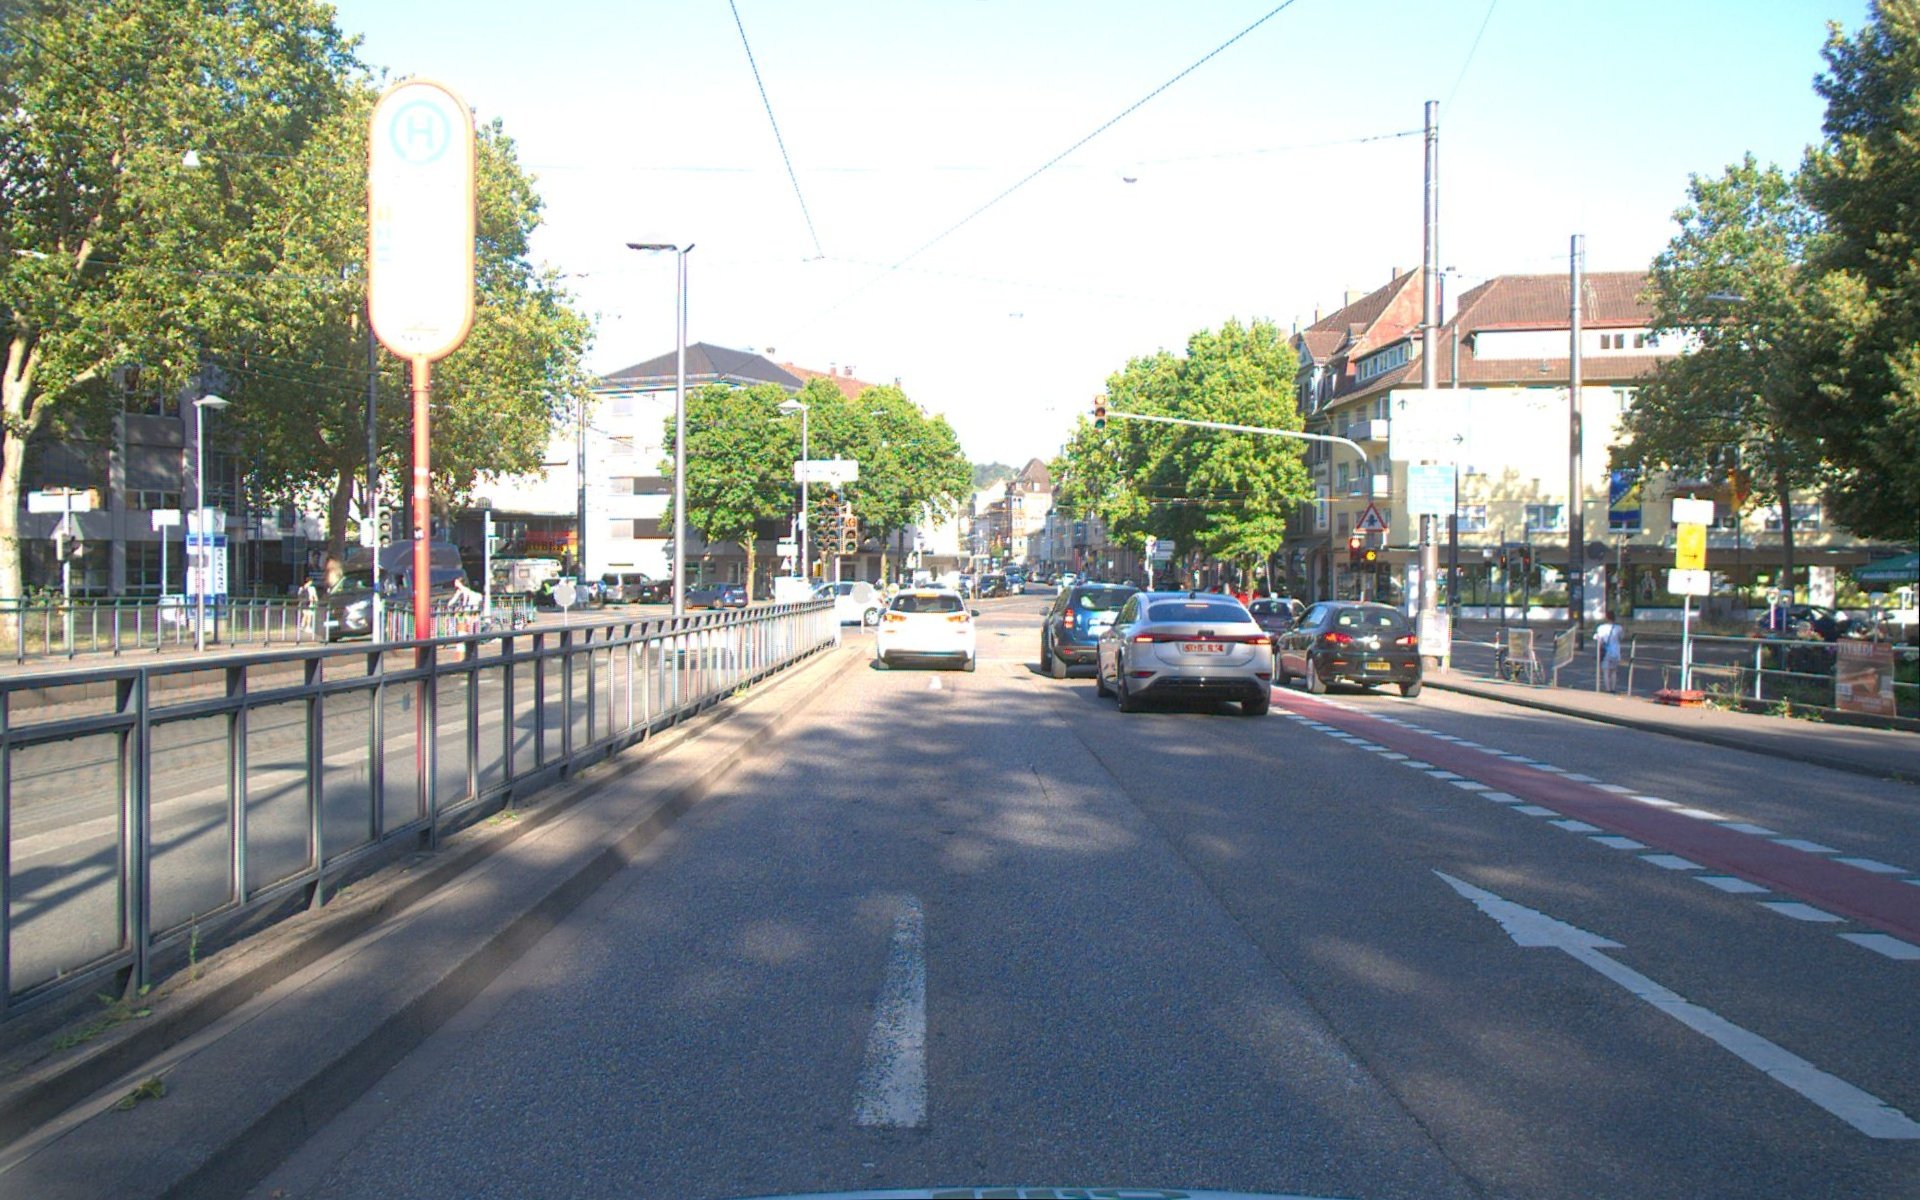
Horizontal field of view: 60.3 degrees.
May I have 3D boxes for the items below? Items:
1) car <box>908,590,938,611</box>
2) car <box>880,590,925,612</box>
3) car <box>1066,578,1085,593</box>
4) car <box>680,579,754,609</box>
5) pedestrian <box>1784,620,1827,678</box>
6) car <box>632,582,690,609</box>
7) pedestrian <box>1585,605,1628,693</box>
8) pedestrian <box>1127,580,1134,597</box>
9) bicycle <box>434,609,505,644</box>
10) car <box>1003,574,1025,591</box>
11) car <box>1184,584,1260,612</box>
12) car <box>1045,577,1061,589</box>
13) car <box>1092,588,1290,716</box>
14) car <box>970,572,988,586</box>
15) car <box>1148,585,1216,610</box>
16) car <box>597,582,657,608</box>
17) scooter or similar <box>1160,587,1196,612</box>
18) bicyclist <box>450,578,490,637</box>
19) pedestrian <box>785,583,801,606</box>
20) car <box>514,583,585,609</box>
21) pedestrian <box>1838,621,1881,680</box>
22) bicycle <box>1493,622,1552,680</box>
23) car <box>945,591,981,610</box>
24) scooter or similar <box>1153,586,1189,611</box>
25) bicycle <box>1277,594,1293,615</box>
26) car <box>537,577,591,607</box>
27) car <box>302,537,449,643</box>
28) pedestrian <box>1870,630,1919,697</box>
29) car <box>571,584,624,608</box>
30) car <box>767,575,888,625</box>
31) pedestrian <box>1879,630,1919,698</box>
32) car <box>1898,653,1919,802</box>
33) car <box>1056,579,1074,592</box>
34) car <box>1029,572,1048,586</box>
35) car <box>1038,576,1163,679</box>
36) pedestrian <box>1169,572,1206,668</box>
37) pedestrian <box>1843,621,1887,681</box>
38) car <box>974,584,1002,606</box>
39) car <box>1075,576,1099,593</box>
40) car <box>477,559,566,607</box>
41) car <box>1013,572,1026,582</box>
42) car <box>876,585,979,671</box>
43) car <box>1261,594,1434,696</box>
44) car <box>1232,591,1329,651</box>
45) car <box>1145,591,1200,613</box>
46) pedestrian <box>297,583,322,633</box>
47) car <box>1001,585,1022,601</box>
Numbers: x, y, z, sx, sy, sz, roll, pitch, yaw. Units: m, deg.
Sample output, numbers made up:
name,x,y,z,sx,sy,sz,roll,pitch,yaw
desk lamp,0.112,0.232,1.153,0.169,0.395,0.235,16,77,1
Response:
name,x,y,z,sx,sy,sz,roll,pitch,yaw
car,-2.760,0.043,123.680,1.756,1.537,4.003,0,0,6
car,-4.056,0.053,117.670,1.689,1.537,3.874,0,0,24
car,12.712,-1.587,182.179,1.758,1.536,3.999,0,0,-1
car,-13.115,-0.336,89.185,3.923,1.537,1.792,1,0,38
pedestrian,20.395,1.174,39.910,0.635,1.361,0.632,3,0,-1
car,-19.601,-0.309,108.579,1.881,1.677,4.181,0,0,20
pedestrian,12.012,0.899,30.755,0.634,1.590,0.632,3,0,18
pedestrian,17.224,-1.201,166.844,0.634,1.680,0.651,1,-1,10
bicycle,-12.082,0.639,40.773,1.603,0.830,0.519,0,0,-42
car,5.037,-1.656,153.904,1.758,1.536,3.999,0,0,-2
car,14.778,-0.099,93.349,3.913,1.536,1.796,0,0,-9
car,11.629,-2.144,207.560,1.758,1.549,3.999,0,0,-1
car,2.931,0.602,22.028,1.890,1.498,4.854,1,0,-1
car,2.049,-2.229,176.771,1.758,1.536,3.999,0,0,-2
car,13.910,-0.180,103.657,3.911,1.536,1.797,0,0,-7
car,-21.938,-0.316,109.209,1.760,1.677,4.004,0,0,28
scooter or similar,11.549,-0.052,87.497,1.915,1.303,0.550,1,0,41
bicyclist,-12.078,0.169,40.772,0.796,1.439,0.519,0,0,-42
pedestrian,-11.161,-0.393,110.566,0.786,1.510,0.861,0,0,25
car,-25.088,-0.260,100.997,3.906,1.536,1.799,1,0,23
pedestrian,21.676,1.204,39.877,0.635,1.361,0.632,3,0,-1
bicycle,10.988,0.983,32.346,0.488,1.093,1.800,1,-1,-1
car,0.253,0.034,131.784,1.756,1.537,4.002,0,0,18
scooter or similar,11.100,-0.068,86.940,1.915,1.303,0.550,1,0,41
bicycle,17.143,0.236,87.265,0.596,1.127,1.801,0,0,4
car,-26.819,-0.546,112.096,1.756,1.990,4.002,0,0,18
car,-16.378,-0.255,46.628,2.024,2.791,5.033,1,-1,4
pedestrian,19.887,1.337,35.179,0.635,1.361,0.632,3,0,-1
car,-24.359,-0.276,111.233,1.756,1.536,4.012,0,0,18
car,-4.842,0.011,60.405,4.086,1.722,1.810,1,0,-20
pedestrian,19.526,1.321,34.213,0.635,1.361,0.632,3,0,-1
car,13.535,1.681,19.993,1.758,1.931,4.357,1,0,-3
car,11.963,-1.654,188.328,1.758,1.536,3.999,0,0,-1
car,10.997,-2.944,232.570,2.280,2.049,4.975,0,0,-1
car,2.405,0.437,29.191,1.764,1.666,4.044,1,0,-1
pedestrian,4.585,0.399,33.392,0.643,1.903,0.677,0,0,-1
pedestrian,21.314,1.189,38.956,0.635,1.361,0.632,3,0,-1
car,2.399,-0.410,139.249,1.756,1.858,4.004,0,0,9
car,13.489,-1.671,175.662,2.062,1.807,4.340,0,0,-1
car,-29.897,-1.153,113.047,2.445,3.220,6.535,0,0,22
car,9.240,-3.586,257.840,1.758,1.536,3.999,0,0,-1
car,-0.609,0.480,30.894,1.771,1.478,3.999,1,0,-1
car,6.172,0.669,26.774,1.763,1.464,4.044,2,0,-1
car,9.110,0.564,46.742,1.759,1.536,3.997,1,1,25
car,15.136,0.148,117.887,3.967,1.536,1.772,0,0,-43
pedestrian,-20.542,0.246,52.211,0.524,1.579,0.677,0,0,-1
car,5.038,-0.720,161.893,1.758,1.536,3.999,0,0,-2
